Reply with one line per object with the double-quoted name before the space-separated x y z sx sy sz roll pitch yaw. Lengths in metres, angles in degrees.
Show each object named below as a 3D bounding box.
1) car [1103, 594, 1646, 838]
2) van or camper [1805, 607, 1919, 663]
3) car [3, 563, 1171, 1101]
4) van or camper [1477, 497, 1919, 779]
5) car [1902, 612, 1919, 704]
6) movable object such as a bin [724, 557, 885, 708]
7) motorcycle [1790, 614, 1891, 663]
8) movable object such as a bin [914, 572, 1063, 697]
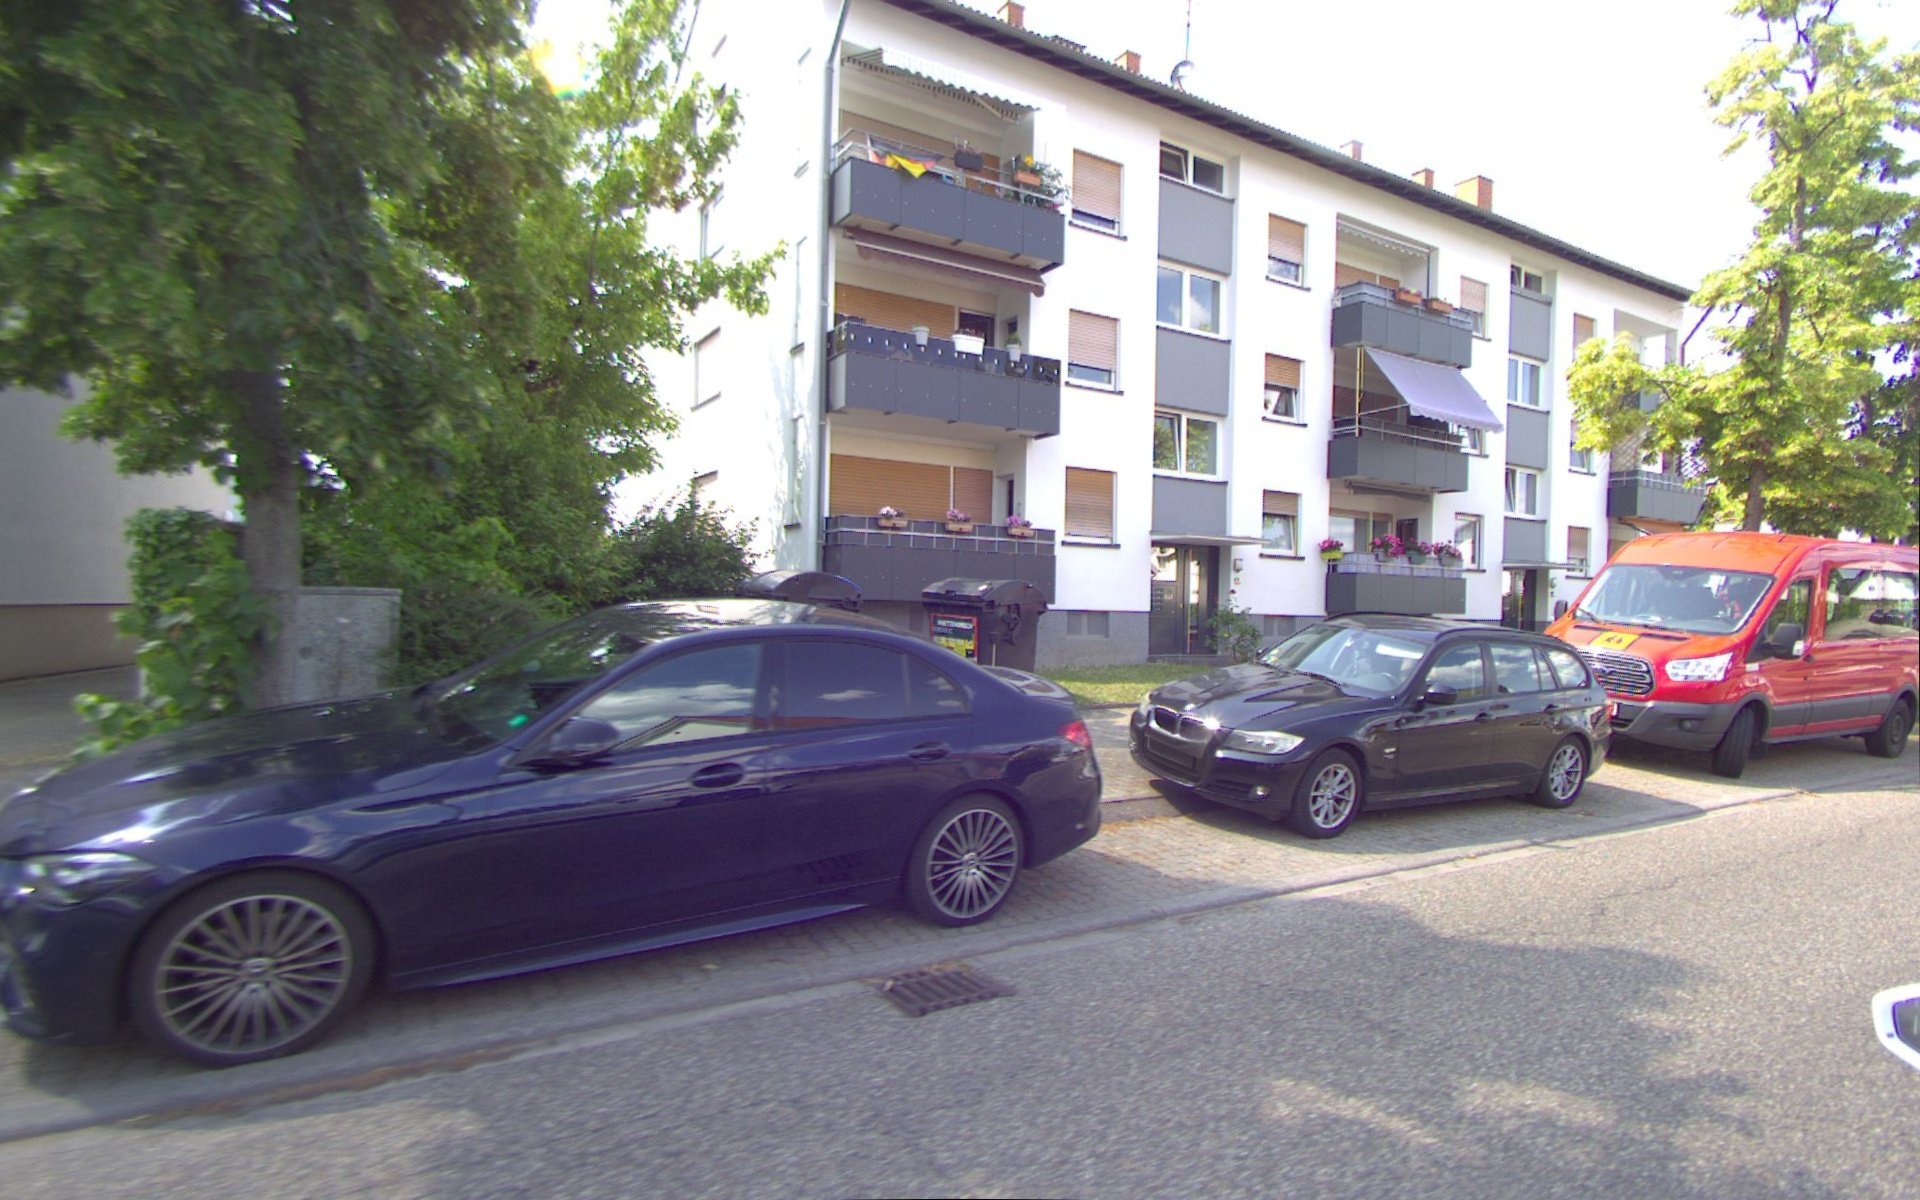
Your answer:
"car" 3.474 0.799 8.199 4.411 1.456 1.680 2 3 -30
"van or camper" 28.934 1.108 31.045 3.920 1.563 1.782 3 1 4
"car" -1.280 0.694 4.860 4.582 1.497 1.720 1 3 -33
"van or camper" 8.930 0.347 11.644 6.150 2.583 2.137 1 3 -30
"car" 18.143 1.075 17.121 4.544 1.513 1.800 2 3 -31
"movable object such as a bin" -1.706 0.311 10.910 1.292 1.506 1.287 1 2 -34
"motorcycle" 26.027 1.117 29.720 0.670 1.266 2.082 2 2 -30
"movable object such as a bin" 0.335 0.380 12.314 1.279 1.404 1.286 1 2 -37
